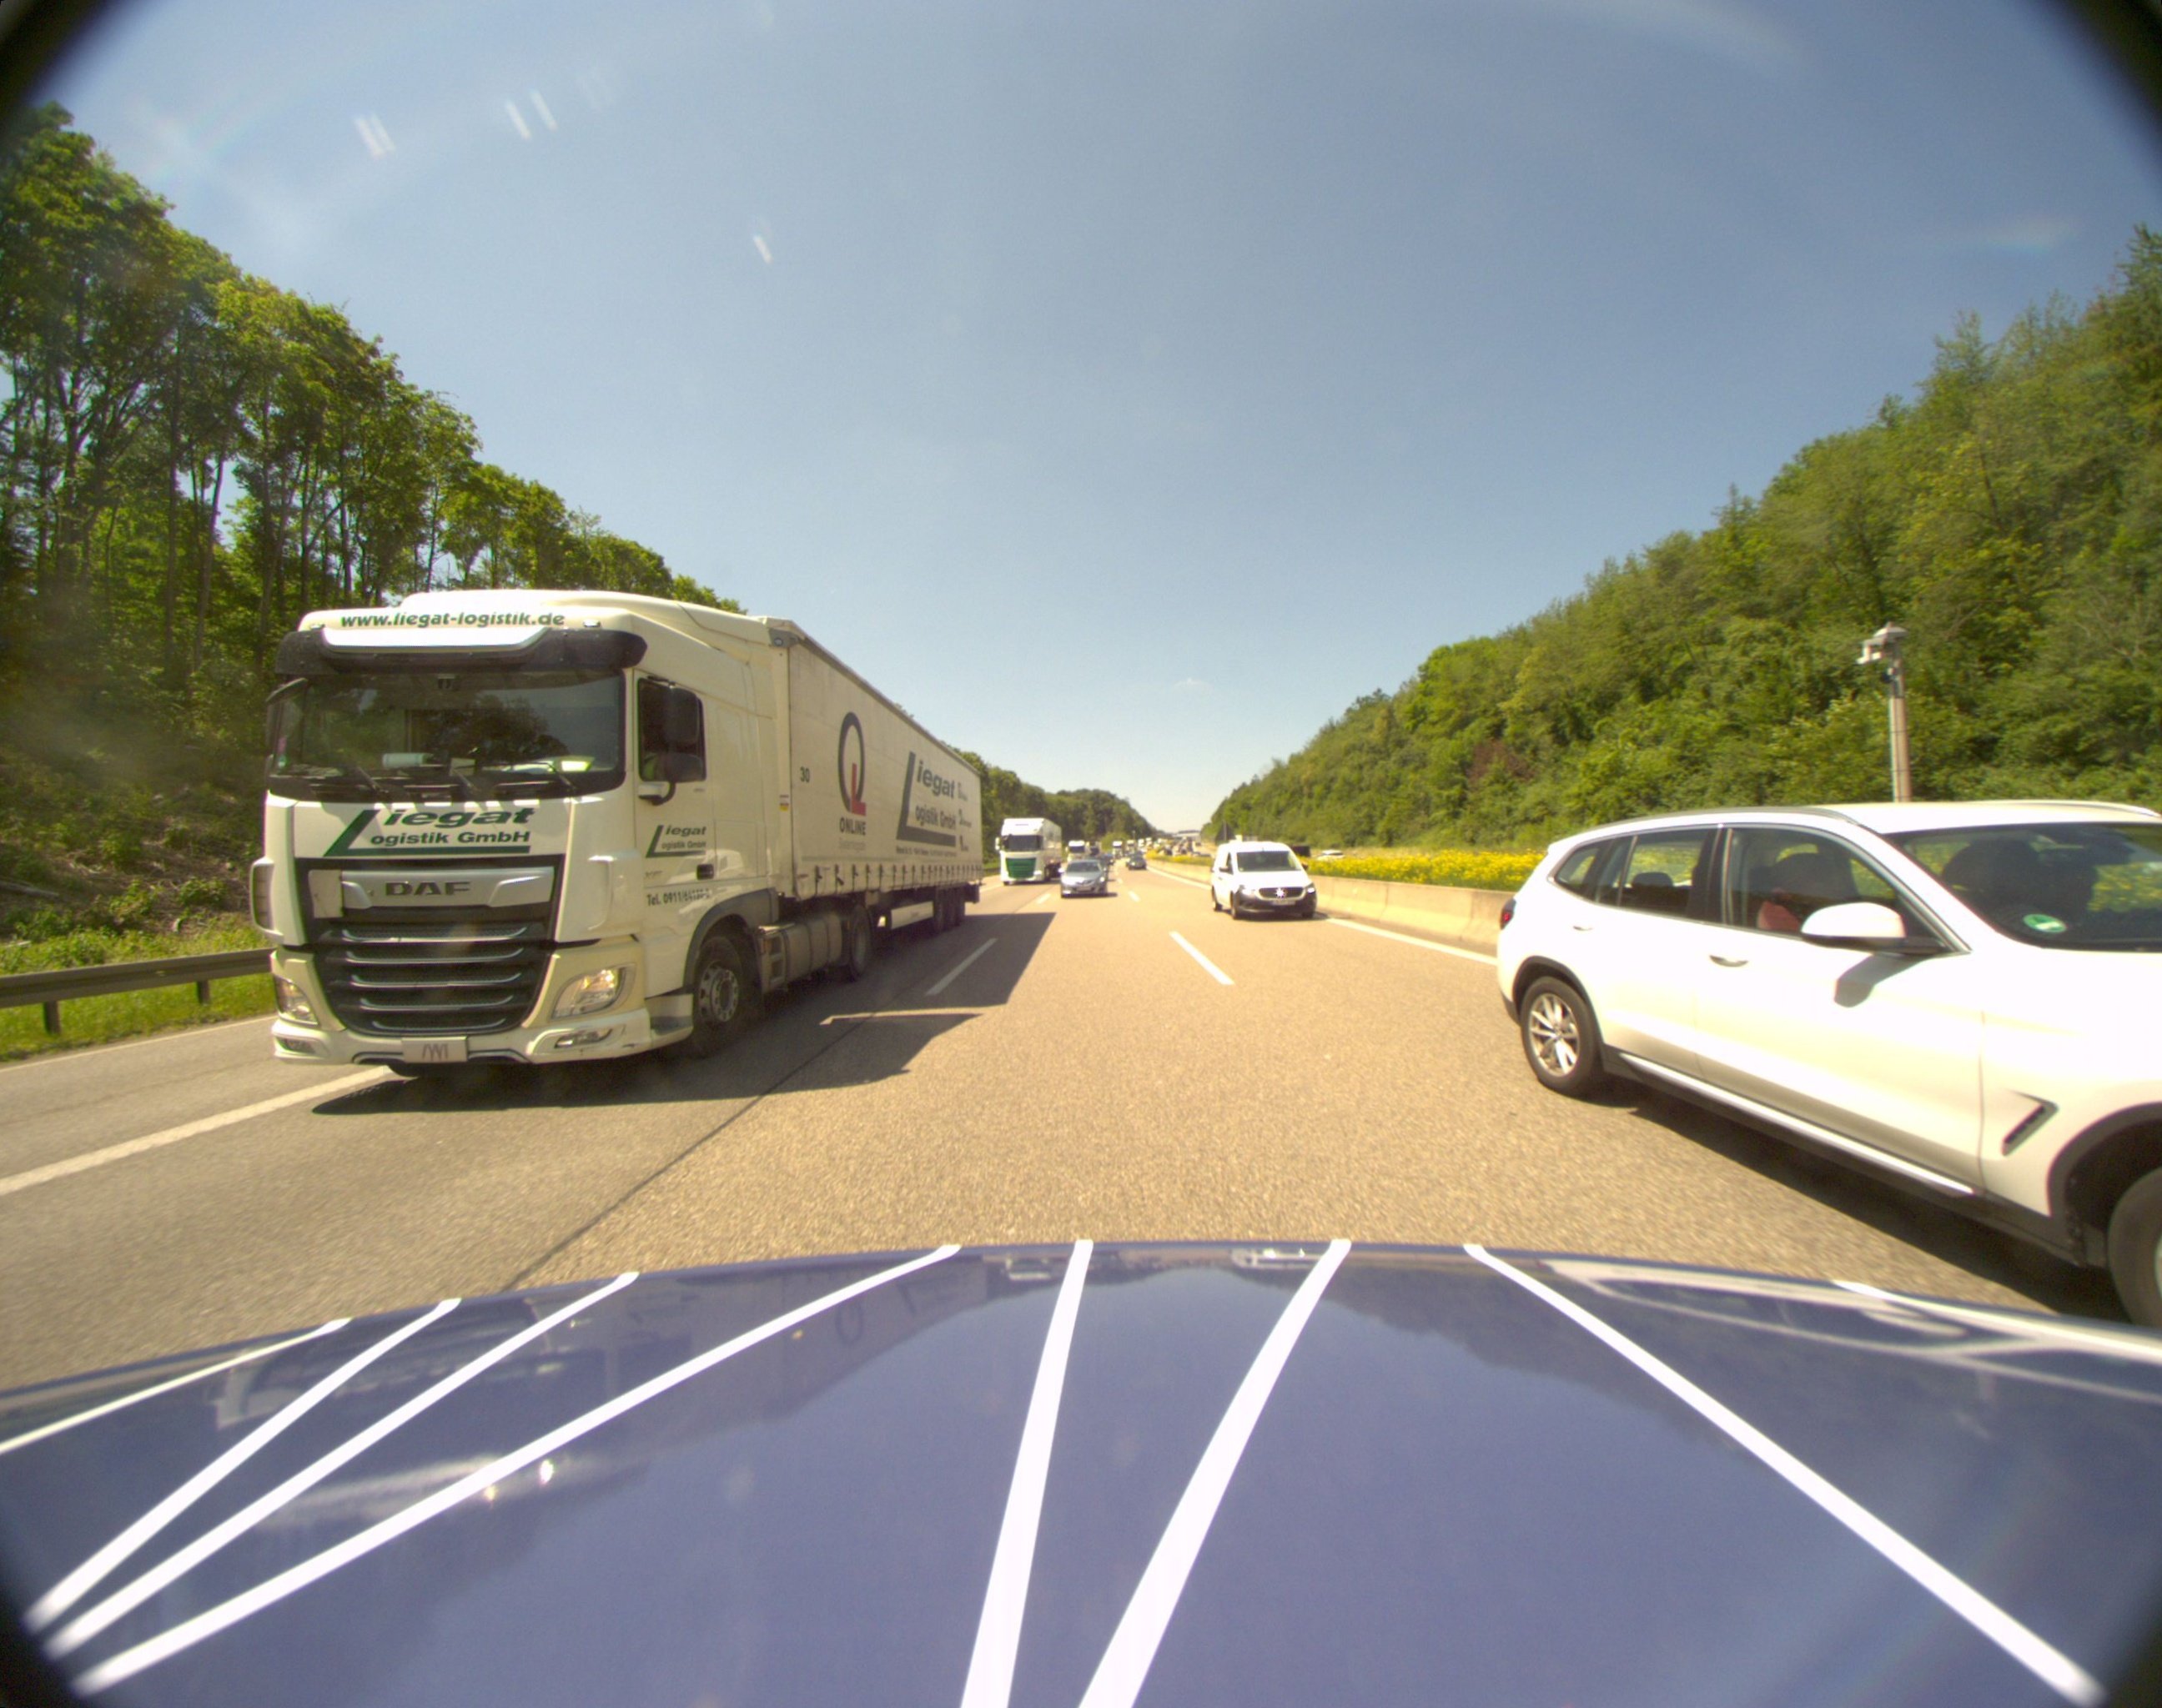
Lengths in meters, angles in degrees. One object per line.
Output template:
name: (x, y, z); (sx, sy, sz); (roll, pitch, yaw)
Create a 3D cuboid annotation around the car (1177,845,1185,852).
car: (28.749, -1.564, 218.735); (1.998, 1.718, 4.000); (-2, 1, 3)

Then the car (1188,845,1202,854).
car: (20.927, -0.795, 139.843); (1.998, 1.563, 4.000); (-2, 1, 2)

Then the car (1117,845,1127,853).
car: (12.817, -1.594, 236.754); (2.697, 2.467, 6.585); (-2, 1, 6)

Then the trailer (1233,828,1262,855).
trailer: (27.686, -2.060, 126.977); (2.721, 4.183, 13.934); (-2, 1, 4)

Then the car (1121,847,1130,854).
car: (11.581, -0.846, 198.062); (1.998, 1.728, 4.001); (-2, 1, 6)

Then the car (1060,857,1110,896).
car: (0.235, 0.879, 31.532); (1.887, 1.458, 4.248); (-2, 0, 2)

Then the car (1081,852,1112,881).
car: (1.014, 0.759, 48.285); (1.887, 1.696, 4.084); (-2, 0, 2)

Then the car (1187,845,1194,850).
car: (33.147, -1.863, 230.236); (1.997, 1.499, 4.002); (-1, 0, 7)

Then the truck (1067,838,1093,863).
truck: (-0.101, -0.589, 109.642); (3.262, 3.337, 6.863); (-2, 1, 3)

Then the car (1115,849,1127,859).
car: (6.979, -0.025, 132.878); (1.998, 1.728, 4.000); (-2, 1, 4)

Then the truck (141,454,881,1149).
truck: (-4.289, -0.292, 7.619); (2.793, 4.180, 5.870); (-2, 0, 1)

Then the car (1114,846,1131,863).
car: (5.270, 0.005, 96.852); (1.998, 2.002, 3.999); (-2, 1, 0)

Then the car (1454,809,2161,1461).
car: (3.701, 0.697, 3.112); (1.869, 1.684, 4.955); (-2, 0, 0)

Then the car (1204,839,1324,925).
car: (4.307, 0.597, 18.657); (1.769, 1.802, 4.673); (-2, 0, 0)

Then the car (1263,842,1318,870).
car: (12.043, 0.069, 44.035); (1.998, 1.464, 4.873); (-2, 1, 2)

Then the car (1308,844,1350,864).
car: (19.856, -0.010, 60.993); (1.998, 1.434, 4.171); (-2, 1, 1)

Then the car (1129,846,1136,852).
car: (15.353, -1.484, 225.479); (1.998, 1.728, 4.001); (-2, 1, 6)

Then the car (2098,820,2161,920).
car: (18.354, 0.224, 10.712); (1.999, 1.607, 4.483); (-2, 0, 0)

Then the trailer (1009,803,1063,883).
trailer: (-3.032, -0.824, 55.718); (2.574, 5.011, 15.270); (-2, 1, 1)

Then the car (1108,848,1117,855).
car: (8.281, -0.750, 200.352); (1.998, 1.728, 4.001); (-2, 1, 6)

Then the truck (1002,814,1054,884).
truck: (-3.179, -0.343, 47.229); (2.542, 4.006, 6.624); (-2, 1, 1)

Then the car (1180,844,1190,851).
car: (25.616, -1.546, 187.249); (1.953, 1.632, 3.981); (-2, 0, 2)

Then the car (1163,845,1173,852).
car: (20.588, -1.290, 180.457); (1.998, 1.668, 4.081); (-2, 0, 2)

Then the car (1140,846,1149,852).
car: (15.373, -1.161, 184.410); (1.998, 1.426, 4.001); (-2, 1, 5)

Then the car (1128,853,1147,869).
car: (5.741, 0.708, 77.377); (1.720, 1.470, 4.000); (-2, 0, 2)

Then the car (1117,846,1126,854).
car: (9.059, -0.827, 169.100); (1.998, 1.728, 4.000); (-2, 1, 4)

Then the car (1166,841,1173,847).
car: (30.688, -3.368, 263.887); (1.998, 2.002, 4.900); (-2, 1, 4)

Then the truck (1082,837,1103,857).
truck: (2.293, -1.495, 148.547); (3.557, 3.695, 7.551); (-2, 1, 3)

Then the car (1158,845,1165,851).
car: (23.940, -1.729, 226.228); (1.998, 1.740, 4.000); (-2, 1, 3)

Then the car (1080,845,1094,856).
car: (0.959, -0.548, 119.954); (1.924, 1.652, 3.827); (-2, 1, 3)

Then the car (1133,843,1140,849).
car: (19.063, -2.771, 260.895); (1.998, 1.728, 4.001); (-2, 1, 6)

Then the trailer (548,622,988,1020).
trailer: (-4.184, -0.297, 14.807); (2.793, 4.180, 13.244); (-2, 0, 1)
